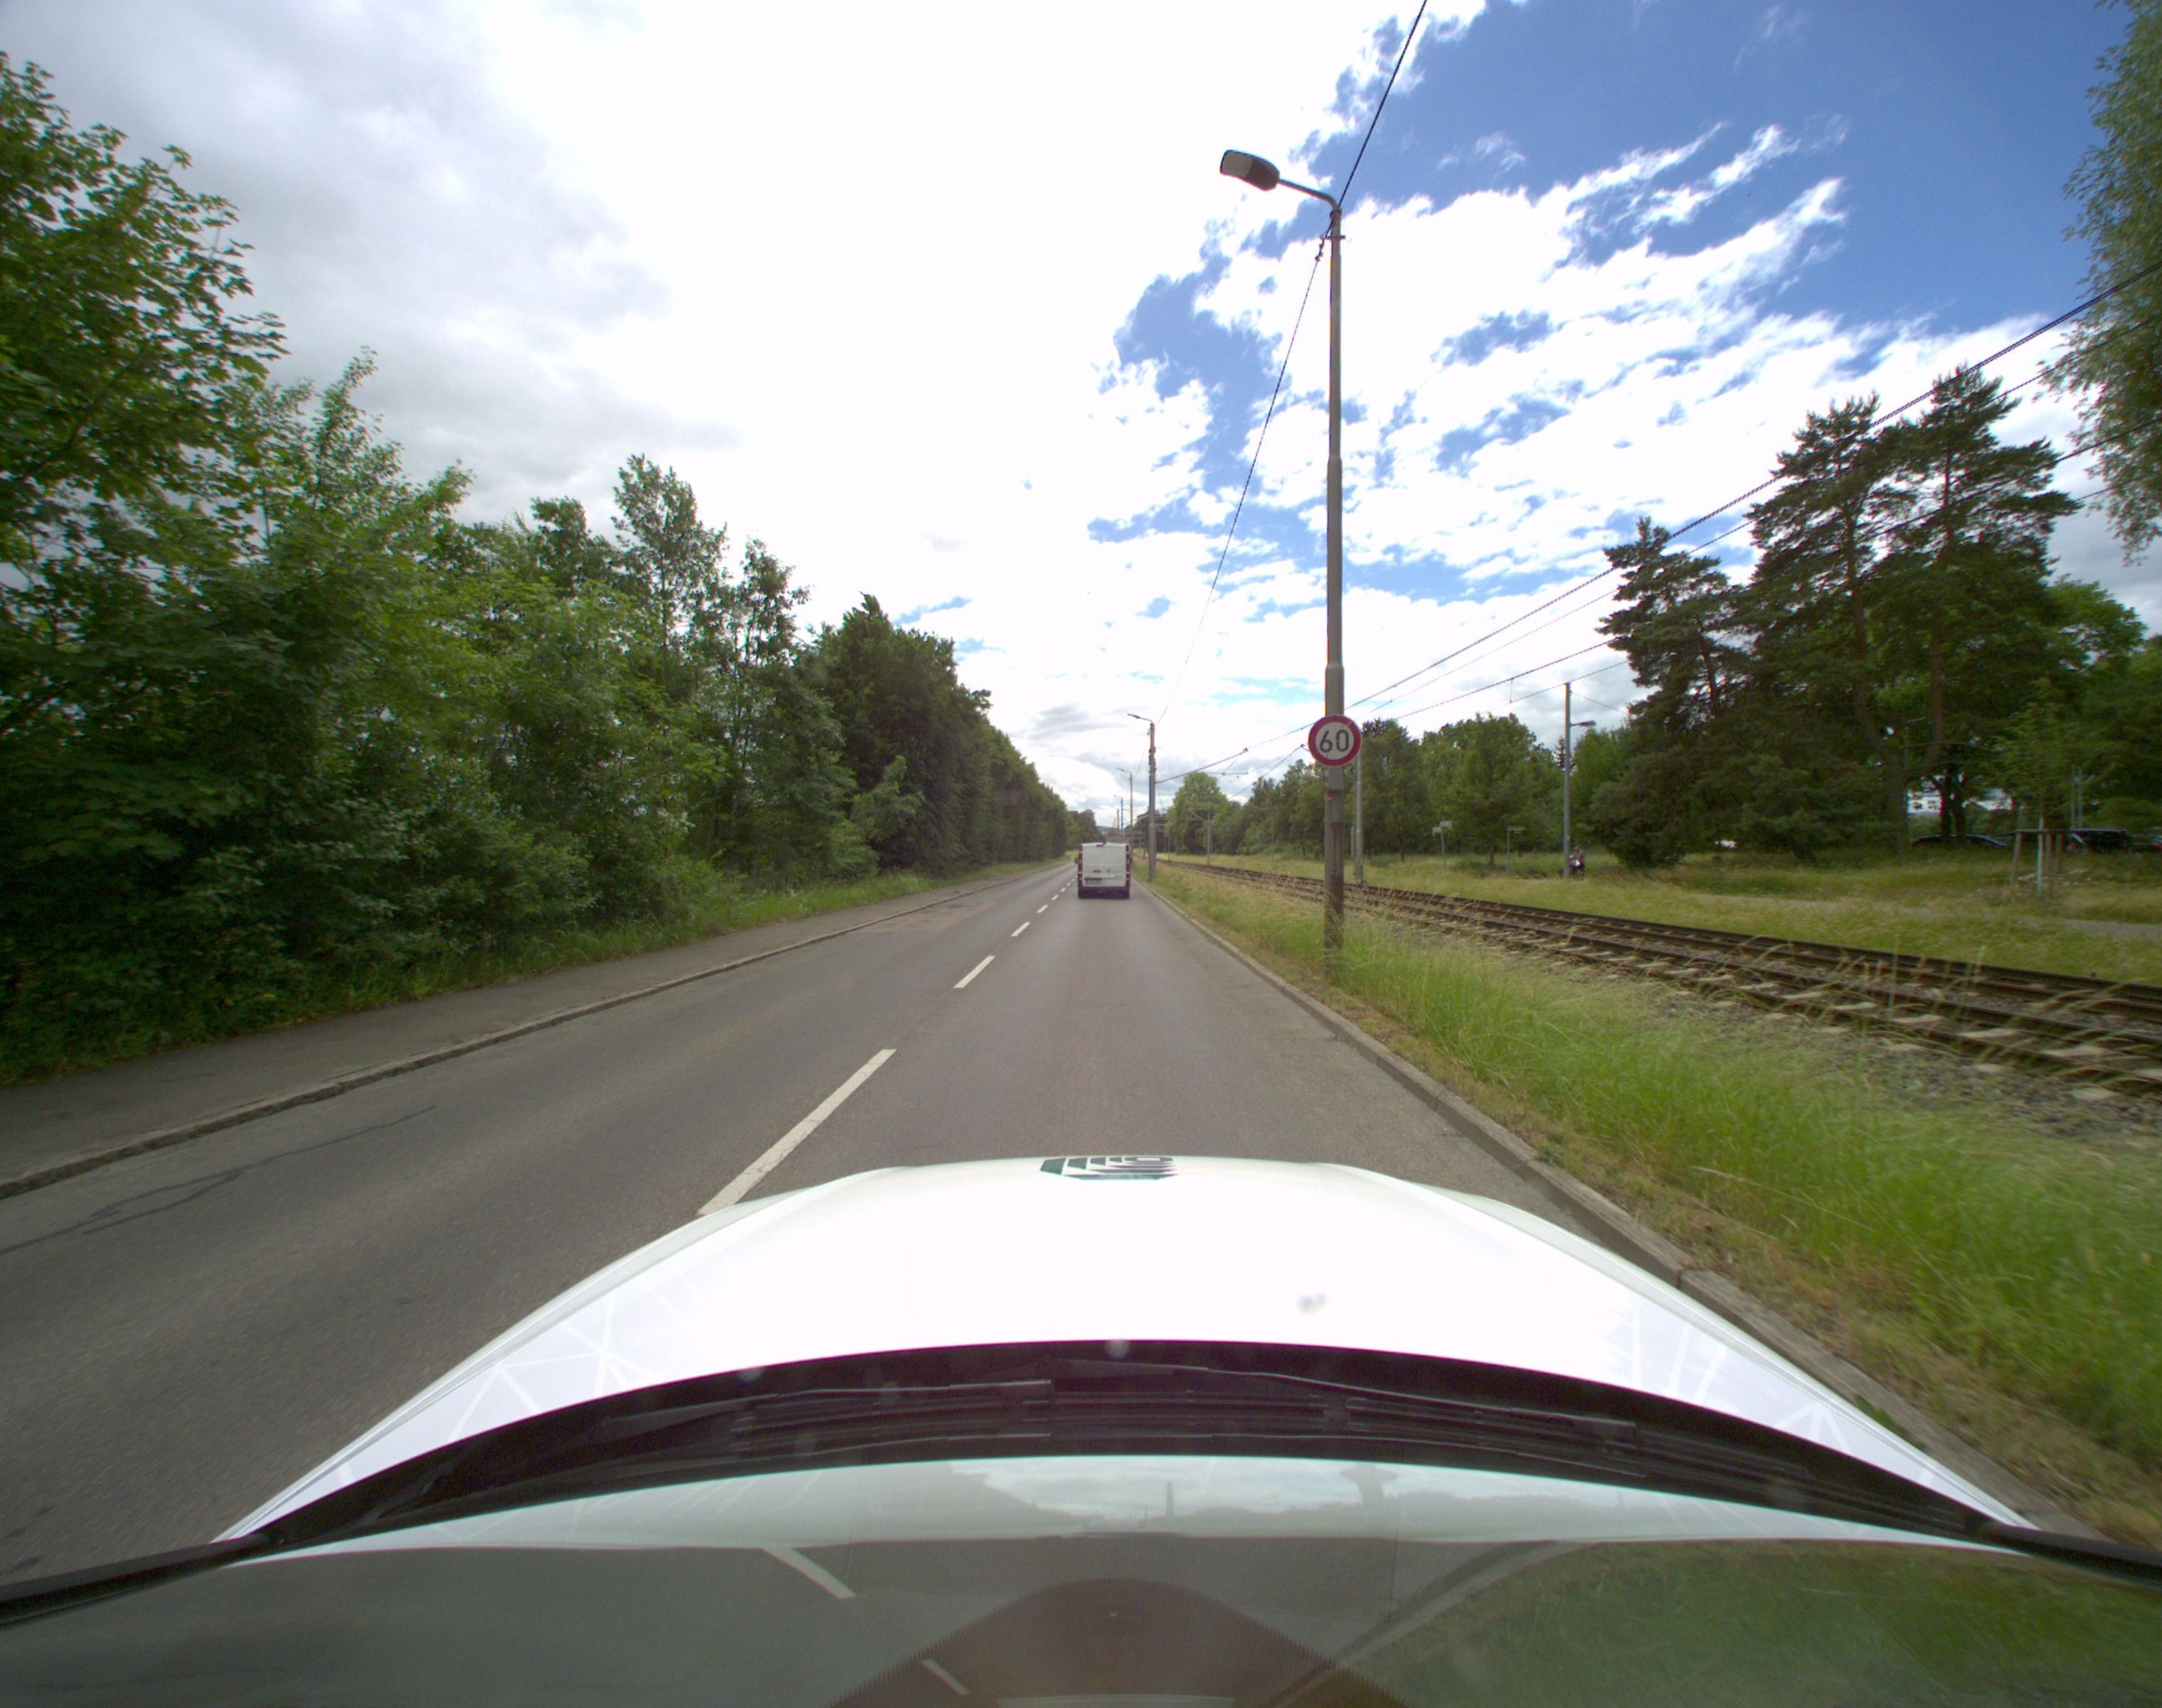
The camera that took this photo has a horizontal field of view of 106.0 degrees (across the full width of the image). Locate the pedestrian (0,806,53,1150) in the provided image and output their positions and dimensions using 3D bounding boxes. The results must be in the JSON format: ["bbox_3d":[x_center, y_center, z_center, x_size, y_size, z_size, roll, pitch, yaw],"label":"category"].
[{"bbox_3d":[-6.011,0.656,3.974,0.866,1.769,0.789,-3,1,-3],"label":"pedestrian"}]

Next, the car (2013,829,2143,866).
[{"bbox_3d":[52.479,-0.340,42.964,2.002,1.812,3.969,0,0,-24],"label":"car"}]

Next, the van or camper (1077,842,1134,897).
[{"bbox_3d":[0.906,0.544,30.146,1.935,1.897,4.286,0,0,1],"label":"van or camper"}]

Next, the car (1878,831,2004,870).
[{"bbox_3d":[42.307,-0.172,40.186,1.744,1.803,3.985,0,0,-11],"label":"car"}]

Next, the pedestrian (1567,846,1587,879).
[{"bbox_3d":[25.465,0.430,41.811,0.650,1.667,0.964,-1,-1,42],"label":"pedestrian"}]

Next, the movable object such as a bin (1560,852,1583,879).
[{"bbox_3d":[24.563,0.552,40.785,0.651,1.310,1.653,-1,-1,42],"label":"movable object such as a bin"}]
